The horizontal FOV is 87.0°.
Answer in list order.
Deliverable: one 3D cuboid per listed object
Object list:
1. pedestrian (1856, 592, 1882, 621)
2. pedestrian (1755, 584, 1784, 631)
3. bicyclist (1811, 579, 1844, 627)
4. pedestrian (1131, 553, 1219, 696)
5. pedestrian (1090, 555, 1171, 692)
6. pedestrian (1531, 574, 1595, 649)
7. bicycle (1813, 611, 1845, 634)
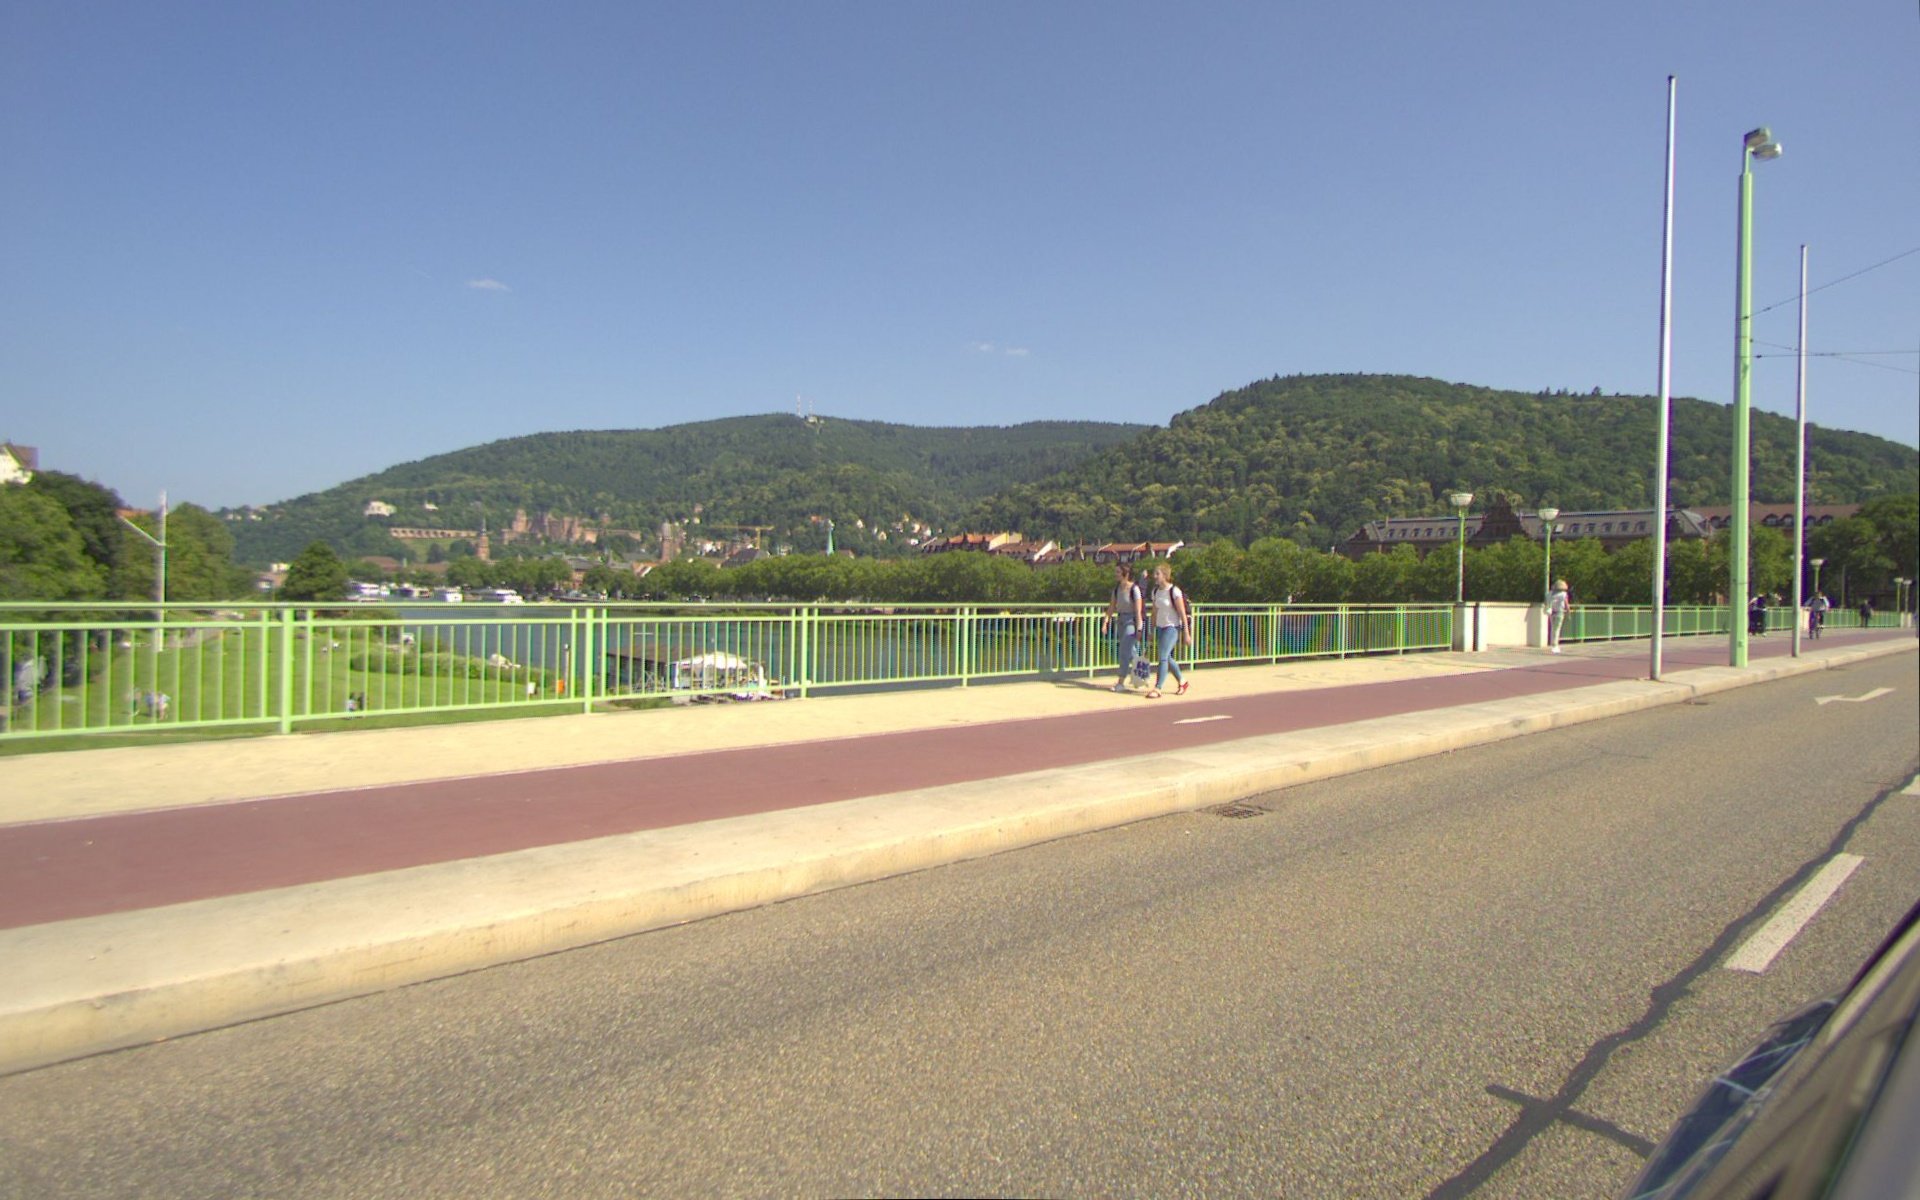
[{"bbox_3d":[53.546,0.379,59.627,1.063,1.683,0.949,0,2,-41],"label":"pedestrian"},{"bbox_3d":[30.237,0.264,37.822,0.844,1.727,0.664,0,2,-41],"label":"pedestrian"},{"bbox_3d":[31.428,0.099,36.660,0.829,1.685,0.731,1,1,-40],"label":"bicyclist"},{"bbox_3d":[2.646,0.277,12.459,0.811,1.679,0.664,0,2,-41],"label":"pedestrian"},{"bbox_3d":[2.190,0.280,12.987,0.733,1.679,0.668,0,2,-41],"label":"pedestrian"},{"bbox_3d":[14.134,0.244,23.724,1.063,1.683,0.949,0,2,-41],"label":"pedestrian"},{"bbox_3d":[31.673,0.822,36.884,1.834,0.775,0.595,0,2,-41],"label":"bicycle"}]
